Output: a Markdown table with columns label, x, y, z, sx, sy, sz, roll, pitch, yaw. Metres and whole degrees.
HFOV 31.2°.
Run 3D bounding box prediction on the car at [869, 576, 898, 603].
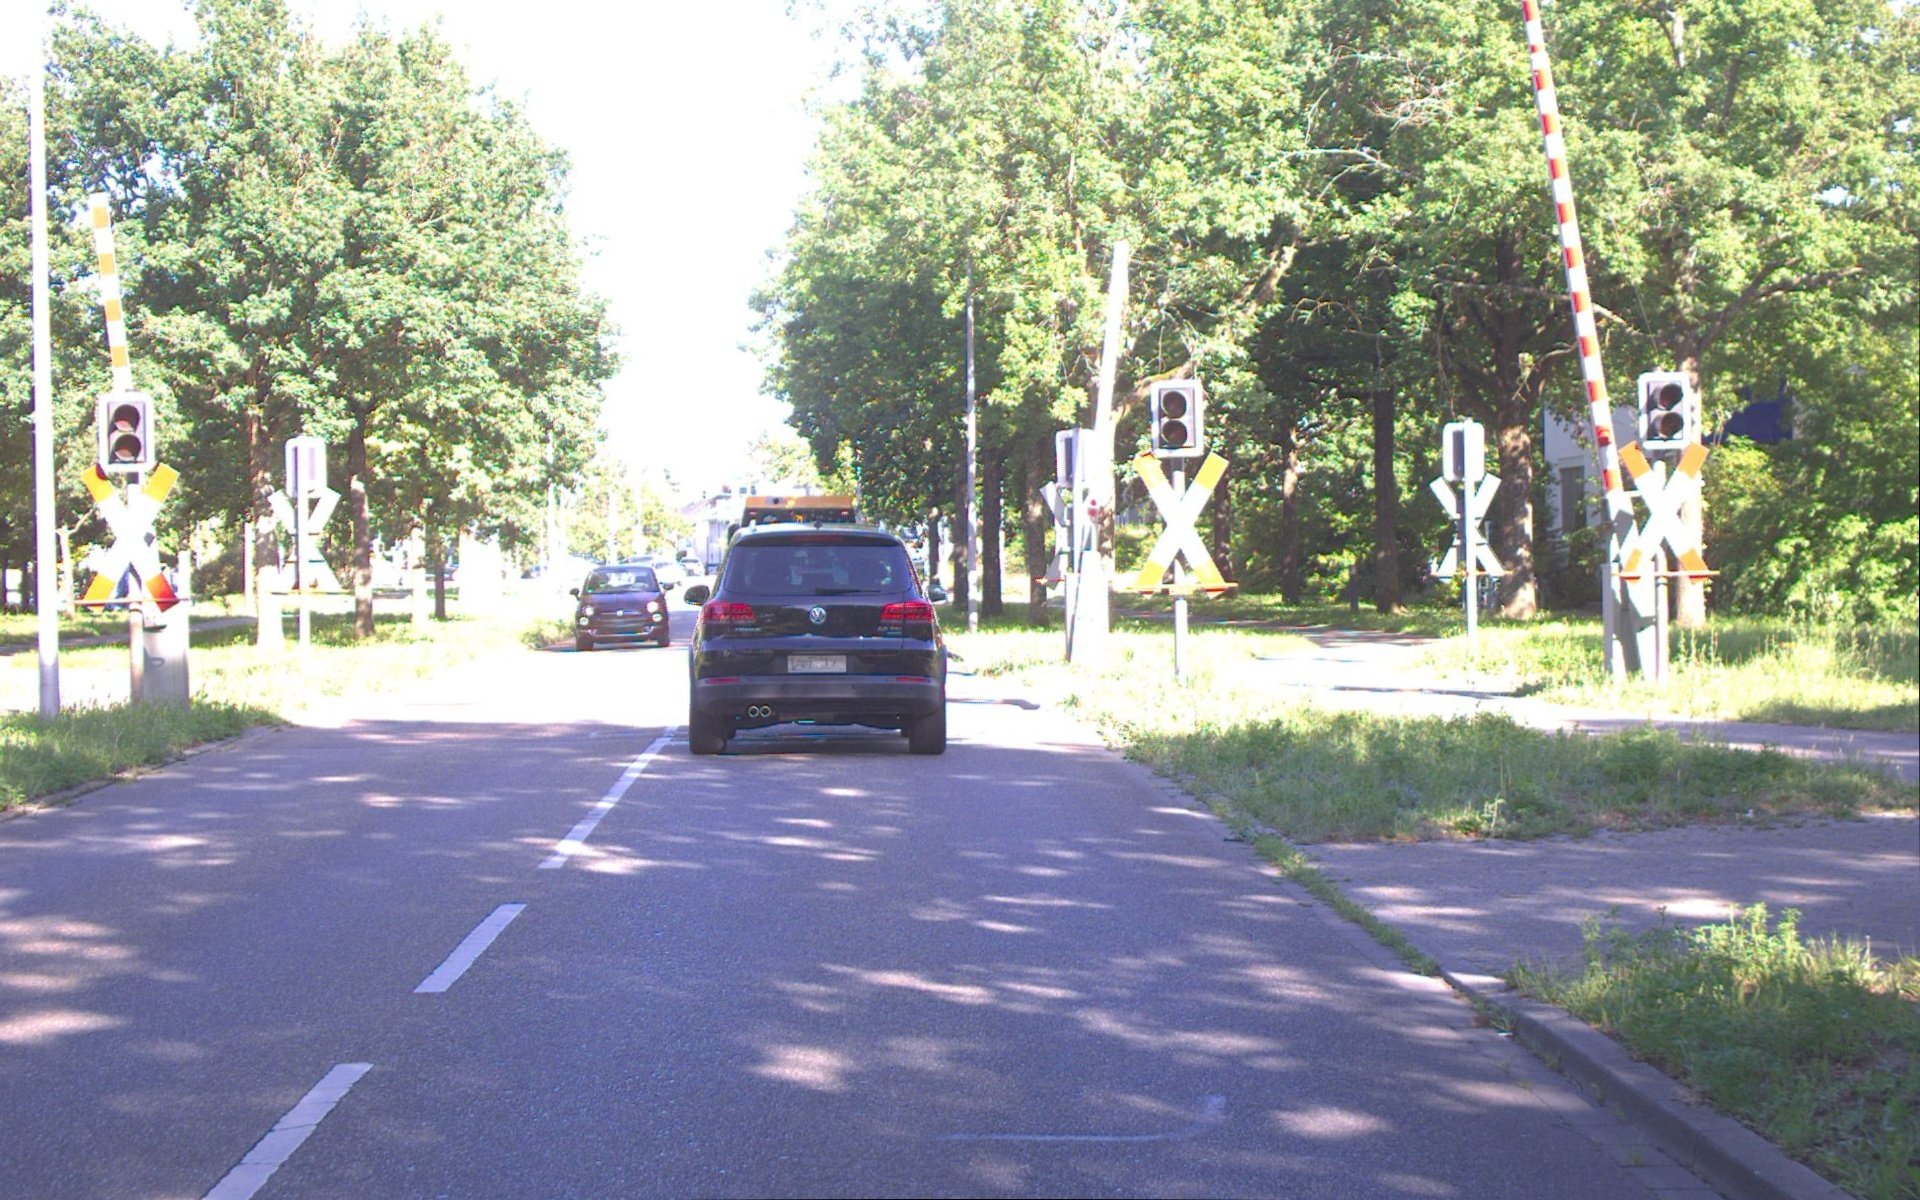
| label | x | y | z | sx | sy | sz | roll | pitch | yaw |
| --- | --- | --- | --- | --- | --- | --- | --- | --- | --- |
| car | -4.030 | -0.551 | 181.367 | 1.452 | 1.401 | 2.856 | 1 | 1 | -2 |

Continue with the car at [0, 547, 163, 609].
| label | x | y | z | sx | sy | sz | roll | pitch | yaw |
| --- | --- | --- | --- | --- | --- | --- | --- | --- | --- |
| car | -30.300 | -0.761 | 117.806 | 5.788 | 2.007 | 2.001 | 1 | 1 | -13 |

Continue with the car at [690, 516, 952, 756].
| label | x | y | z | sx | sy | sz | roll | pitch | yaw |
| --- | --- | --- | --- | --- | --- | --- | --- | --- | --- |
| car | -0.987 | 0.224 | 25.696 | 1.782 | 1.628 | 4.000 | 1 | 1 | -1 |

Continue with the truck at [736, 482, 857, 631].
| label | x | y | z | sx | sy | sz | roll | pitch | yaw |
| --- | --- | --- | --- | --- | --- | --- | --- | --- | --- |
| truck | -3.710 | -1.016 | 79.494 | 2.512 | 3.232 | 8.153 | -1 | 1 | -1 |

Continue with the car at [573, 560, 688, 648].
| label | x | y | z | sx | sy | sz | roll | pitch | yaw |
| --- | --- | --- | --- | --- | --- | --- | --- | --- | --- |
| car | -5.849 | 0.044 | 61.421 | 1.565 | 1.499 | 4.000 | 1 | 1 | 1 |

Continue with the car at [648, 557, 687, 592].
| label | x | y | z | sx | sy | sz | roll | pitch | yaw |
| --- | --- | --- | --- | --- | --- | --- | --- | --- | --- |
| car | -17.020 | -1.501 | 199.818 | 1.993 | 2.007 | 4.001 | 1 | 1 | -8 |
